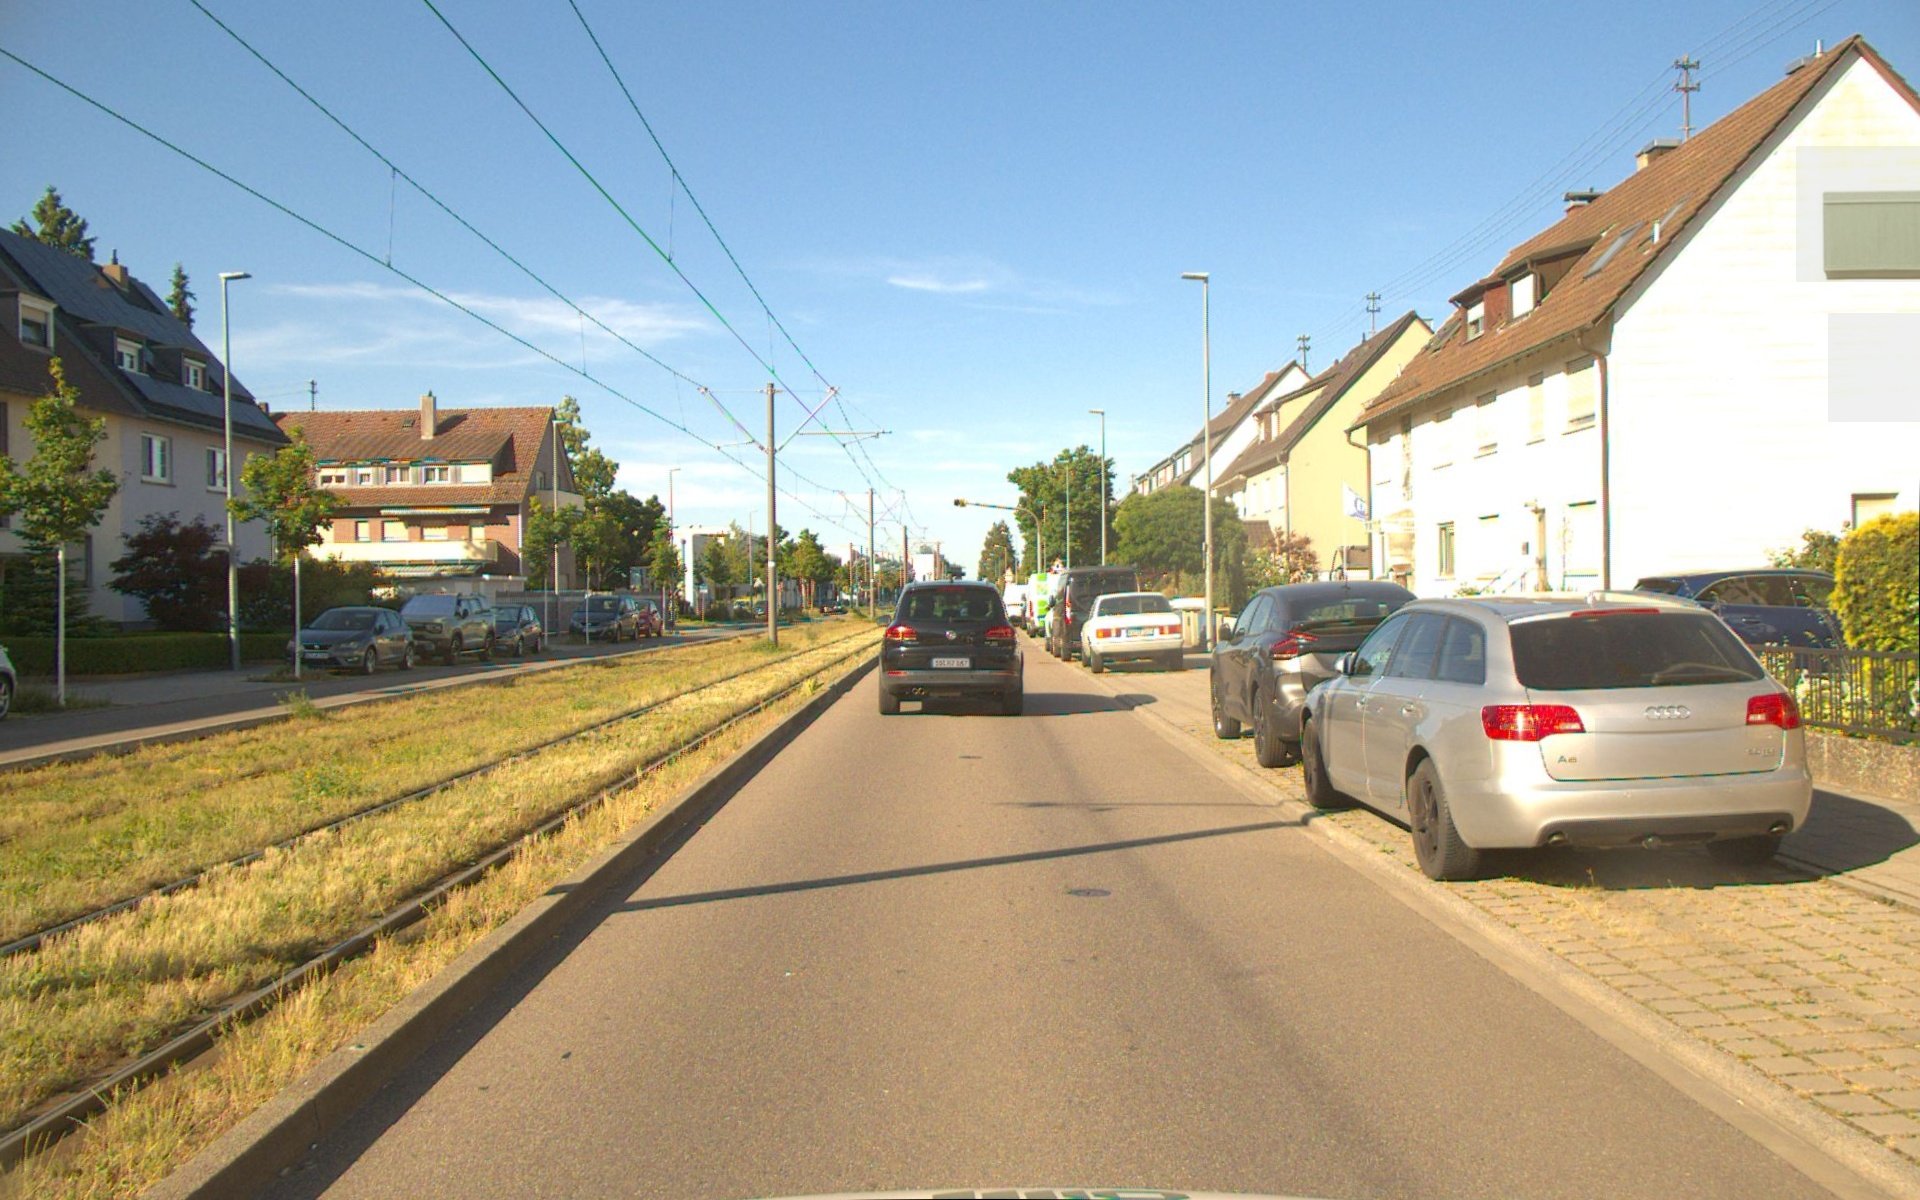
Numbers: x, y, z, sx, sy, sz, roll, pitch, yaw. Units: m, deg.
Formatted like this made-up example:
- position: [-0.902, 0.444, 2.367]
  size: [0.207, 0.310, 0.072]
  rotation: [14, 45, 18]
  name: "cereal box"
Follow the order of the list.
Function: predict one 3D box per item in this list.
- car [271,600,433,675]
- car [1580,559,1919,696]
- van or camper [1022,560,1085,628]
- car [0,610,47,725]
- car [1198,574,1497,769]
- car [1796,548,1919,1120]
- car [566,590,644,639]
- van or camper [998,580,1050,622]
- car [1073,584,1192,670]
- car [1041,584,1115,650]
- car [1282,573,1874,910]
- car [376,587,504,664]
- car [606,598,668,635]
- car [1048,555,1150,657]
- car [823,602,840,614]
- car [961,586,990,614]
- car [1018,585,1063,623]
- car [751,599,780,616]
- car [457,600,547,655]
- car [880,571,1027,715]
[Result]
- position: [-13.478, 0.795, 36.988]
  size: [1.920, 1.567, 4.556]
  rotation: [1, 0, 0]
  name: "car"
- position: [10.754, 0.340, 21.782]
  size: [4.326, 1.684, 2.195]
  rotation: [0, 0, -3]
  name: "car"
- position: [3.421, -0.194, 61.756]
  size: [1.953, 2.310, 6.305]
  rotation: [-2, 0, 0]
  name: "van or camper"
- position: [-13.492, 0.886, 20.778]
  size: [1.654, 1.501, 4.441]
  rotation: [1, 0, -2]
  name: "car"
- position: [3.440, 0.557, 15.584]
  size: [1.741, 1.525, 4.728]
  rotation: [-1, 0, 1]
  name: "car"
- position: [3.544, 0.617, 2.714]
  size: [1.768, 1.586, 4.925]
  rotation: [-2, 0, -1]
  name: "car"
- position: [-13.231, 0.506, 61.834]
  size: [1.782, 1.714, 4.846]
  rotation: [1, 0, 1]
  name: "car"
- position: [3.234, 0.015, 82.417]
  size: [1.984, 1.990, 5.299]
  rotation: [-1, 0, 8]
  name: "van or camper"
- position: [3.304, 0.472, 32.642]
  size: [1.814, 1.469, 5.614]
  rotation: [-3, 0, 1]
  name: "car"
- position: [3.220, 0.454, 45.728]
  size: [1.690, 1.674, 4.318]
  rotation: [-2, 0, 0]
  name: "car"
- position: [3.298, 0.611, 9.936]
  size: [1.712, 1.472, 4.698]
  rotation: [-2, 1, -1]
  name: "car"
- position: [-13.376, 0.622, 42.845]
  size: [1.709, 1.855, 4.841]
  rotation: [1, 0, 0]
  name: "car"
- position: [-13.236, 0.655, 67.987]
  size: [1.660, 1.429, 4.079]
  rotation: [-1, 0, 1]
  name: "car"
- position: [3.218, 0.140, 39.225]
  size: [1.920, 2.181, 5.335]
  rotation: [-2, 0, 0]
  name: "car"
- position: [-16.448, 0.991, 211.381]
  size: [1.653, 1.413, 4.389]
  rotation: [-3, 0, 2]
  name: "car"
- position: [1.044, 0.022, 113.744]
  size: [1.595, 1.860, 4.127]
  rotation: [-1, 0, -4]
  name: "car"
- position: [3.481, 0.171, 72.149]
  size: [1.713, 1.520, 5.155]
  rotation: [-2, 0, 0]
  name: "car"
- position: [-17.364, 0.645, 148.013]
  size: [1.772, 1.486, 4.320]
  rotation: [1, 0, 5]
  name: "car"
- position: [-13.473, 0.783, 48.833]
  size: [1.642, 1.517, 4.048]
  rotation: [1, 0, -2]
  name: "car"
- position: [-0.126, 0.526, 21.770]
  size: [1.740, 1.699, 3.999]
  rotation: [1, 0, -2]
  name: "car"
